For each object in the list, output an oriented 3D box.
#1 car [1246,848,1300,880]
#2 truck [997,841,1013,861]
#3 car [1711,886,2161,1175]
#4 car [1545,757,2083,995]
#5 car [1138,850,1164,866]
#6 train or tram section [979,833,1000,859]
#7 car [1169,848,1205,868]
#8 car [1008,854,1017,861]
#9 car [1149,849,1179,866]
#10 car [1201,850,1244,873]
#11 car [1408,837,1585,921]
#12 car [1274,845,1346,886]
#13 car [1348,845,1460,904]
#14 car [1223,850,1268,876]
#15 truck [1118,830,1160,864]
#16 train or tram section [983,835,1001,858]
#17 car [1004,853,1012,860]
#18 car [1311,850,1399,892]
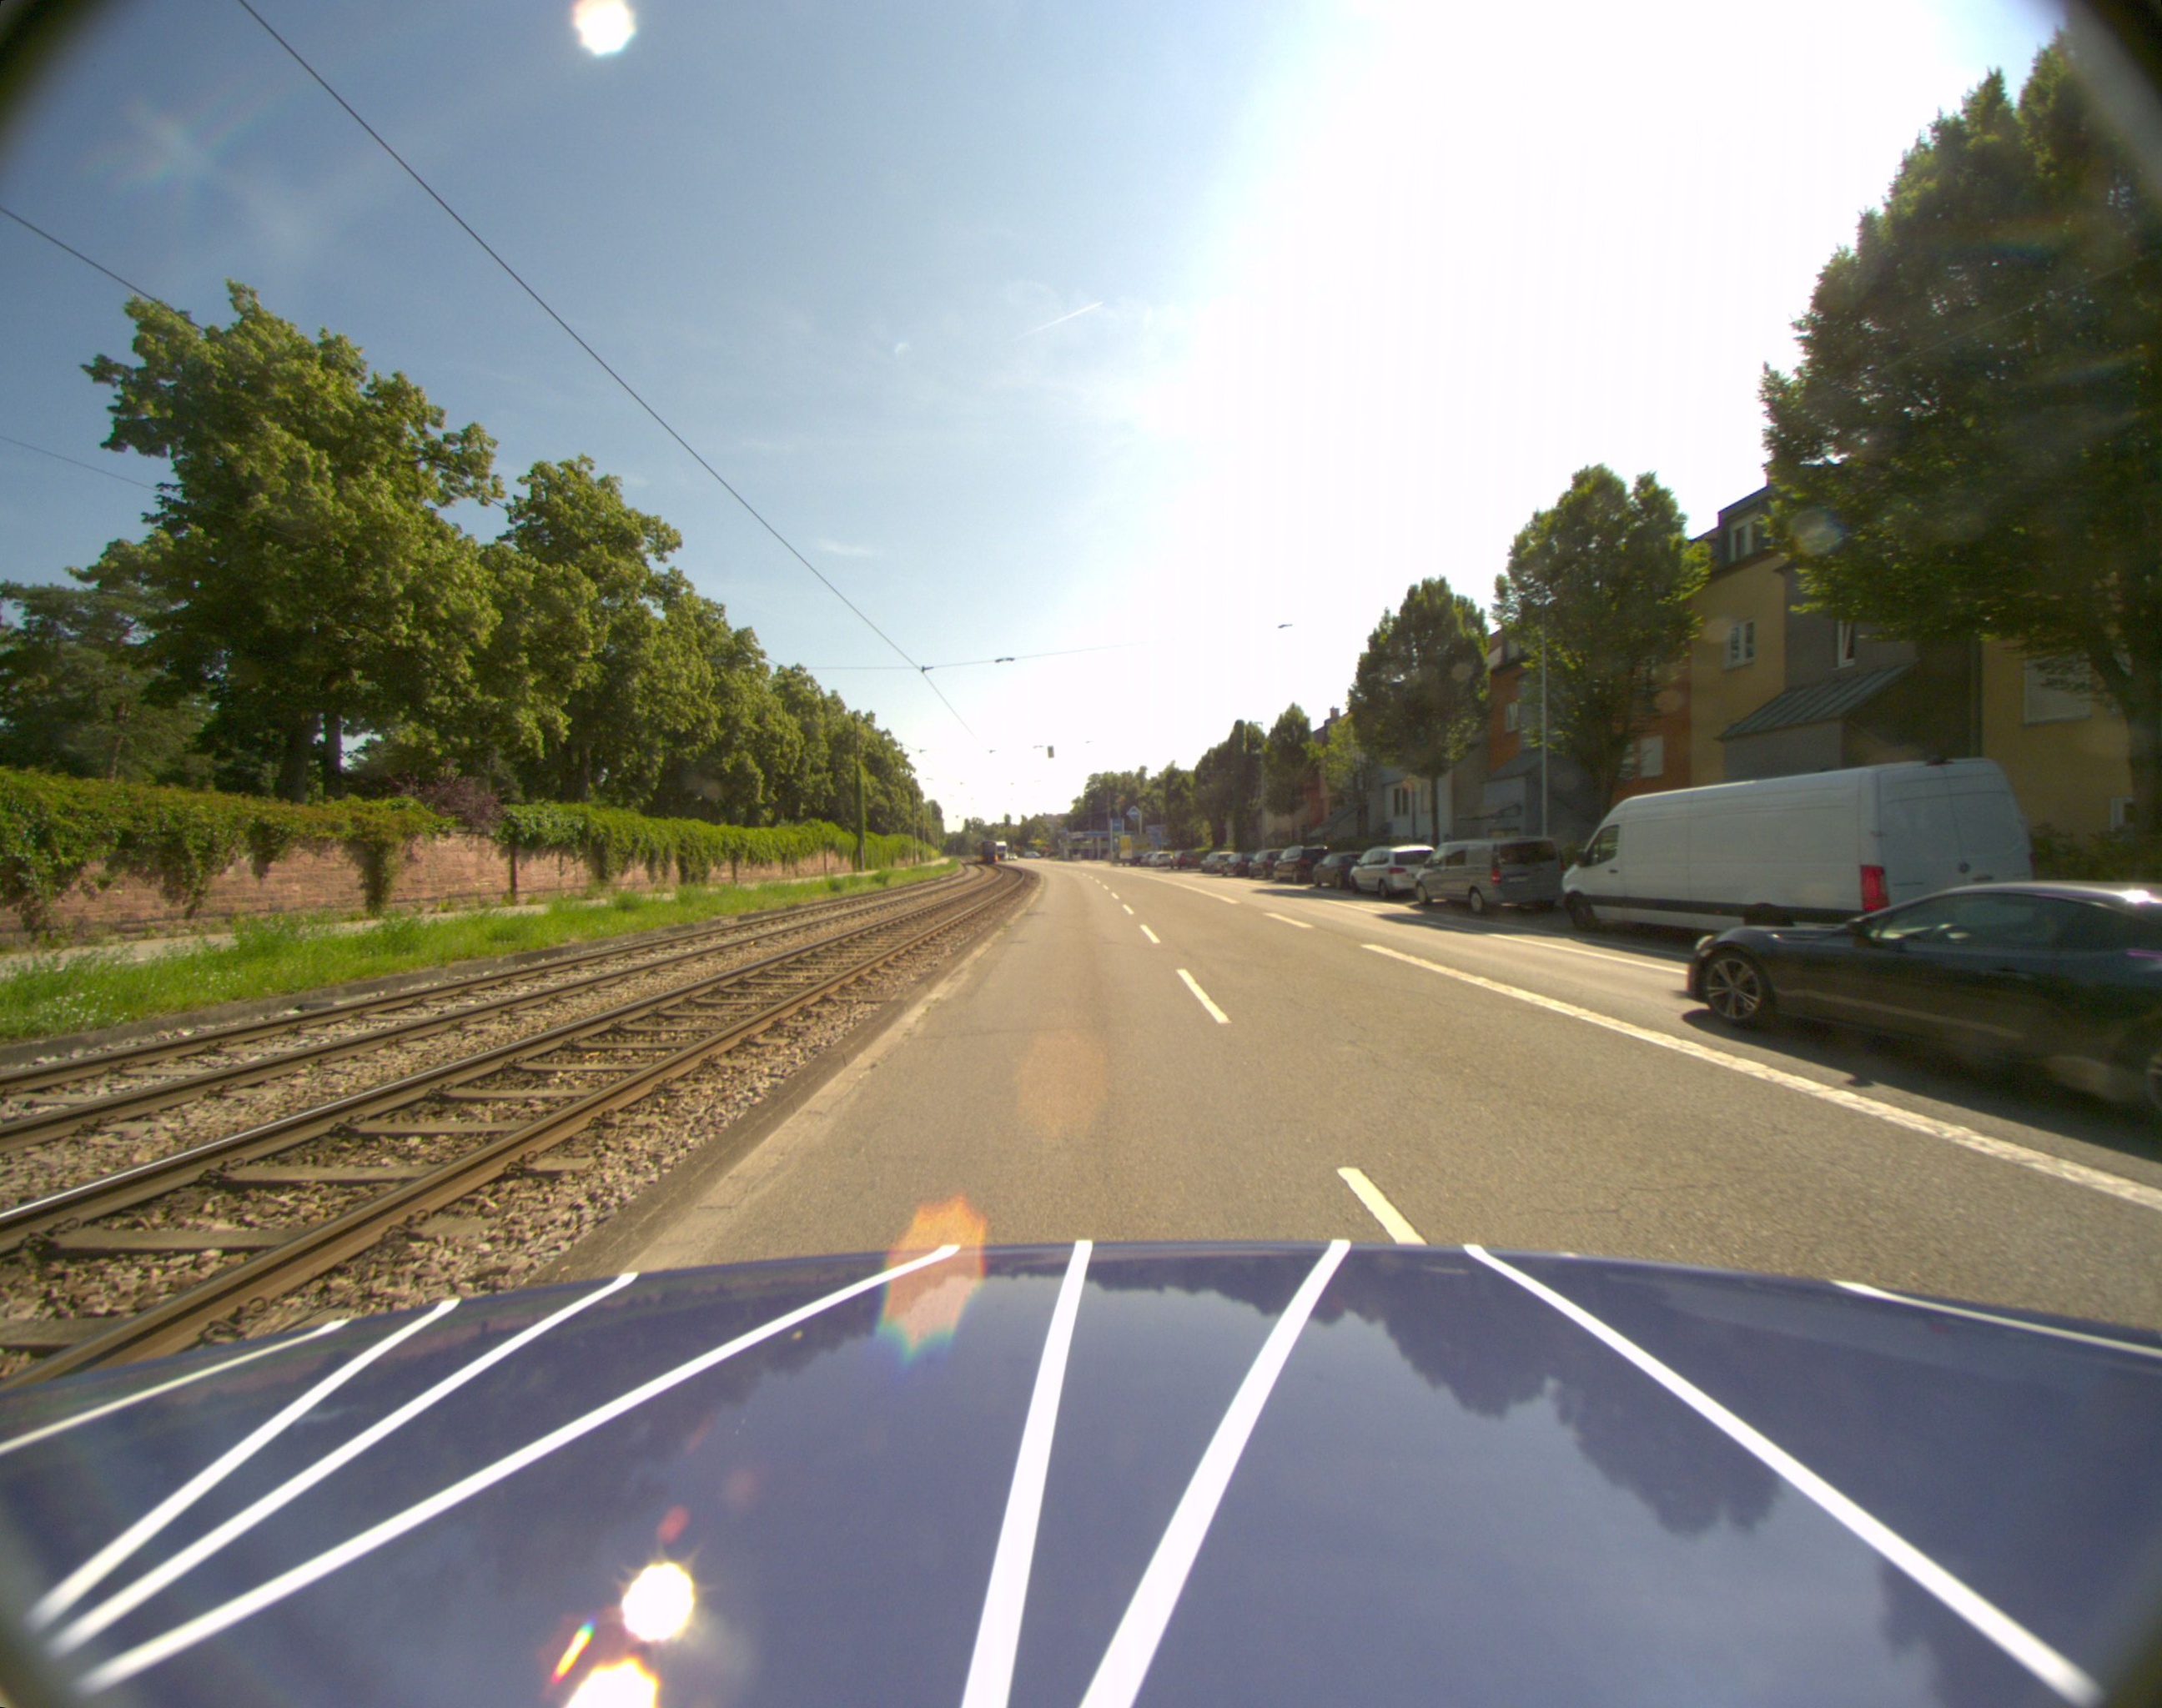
[{"bbox_3d":[10.530,0.507,41.960,1.681,1.598,4.164,-2,1,-3],"label":"car"},{"bbox_3d":[-15.687,-0.606,155.820,2.807,3.927,11.934,-1,1,-7],"label":"truck"},{"bbox_3d":[6.005,0.933,4.168,1.691,1.237,4.064,2,1,0],"label":"car"},{"bbox_3d":[10.800,0.235,12.490,1.998,2.662,7.086,-4,0,1],"label":"car"},{"bbox_3d":[7.168,0.358,78.311,1.915,1.469,4.213,-2,1,-6],"label":"car"},{"bbox_3d":[-14.226,-1.210,119.406,2.722,3.716,18.867,-2,1,-6],"label":"train or tram section"},{"bbox_3d":[9.065,0.288,65.580,1.911,1.567,4.928,-2,1,-6],"label":"car"},{"bbox_3d":[-15.042,0.683,167.578,1.749,1.421,5.037,-2,1,-8],"label":"car"},{"bbox_3d":[7.998,0.283,73.543,2.040,1.490,4.130,-2,1,-6],"label":"car"},{"bbox_3d":[10.048,0.504,54.296,1.682,1.438,4.834,-2,1,-6],"label":"car"},{"bbox_3d":[10.977,0.576,20.594,1.998,1.855,4.966,-5,0,1],"label":"car"},{"bbox_3d":[10.756,0.484,36.070,1.834,1.718,4.348,-3,1,-3],"label":"car"},{"bbox_3d":[10.820,0.611,25.832,1.853,1.693,4.540,-4,1,1],"label":"car"},{"bbox_3d":[10.266,0.544,47.609,1.681,1.462,4.212,-2,1,-3],"label":"car"},{"bbox_3d":[6.454,-0.788,85.849,3.165,3.534,8.779,-1,1,-6],"label":"truck"},{"bbox_3d":[-16.113,-1.352,138.129,2.722,3.716,18.867,-2,1,-6],"label":"train or tram section"},{"bbox_3d":[-17.658,0.568,184.507,1.786,1.538,4.391,-2,1,-7],"label":"car"},{"bbox_3d":[11.047,0.630,30.976,1.871,1.447,4.074,-4,1,-3],"label":"car"}]
